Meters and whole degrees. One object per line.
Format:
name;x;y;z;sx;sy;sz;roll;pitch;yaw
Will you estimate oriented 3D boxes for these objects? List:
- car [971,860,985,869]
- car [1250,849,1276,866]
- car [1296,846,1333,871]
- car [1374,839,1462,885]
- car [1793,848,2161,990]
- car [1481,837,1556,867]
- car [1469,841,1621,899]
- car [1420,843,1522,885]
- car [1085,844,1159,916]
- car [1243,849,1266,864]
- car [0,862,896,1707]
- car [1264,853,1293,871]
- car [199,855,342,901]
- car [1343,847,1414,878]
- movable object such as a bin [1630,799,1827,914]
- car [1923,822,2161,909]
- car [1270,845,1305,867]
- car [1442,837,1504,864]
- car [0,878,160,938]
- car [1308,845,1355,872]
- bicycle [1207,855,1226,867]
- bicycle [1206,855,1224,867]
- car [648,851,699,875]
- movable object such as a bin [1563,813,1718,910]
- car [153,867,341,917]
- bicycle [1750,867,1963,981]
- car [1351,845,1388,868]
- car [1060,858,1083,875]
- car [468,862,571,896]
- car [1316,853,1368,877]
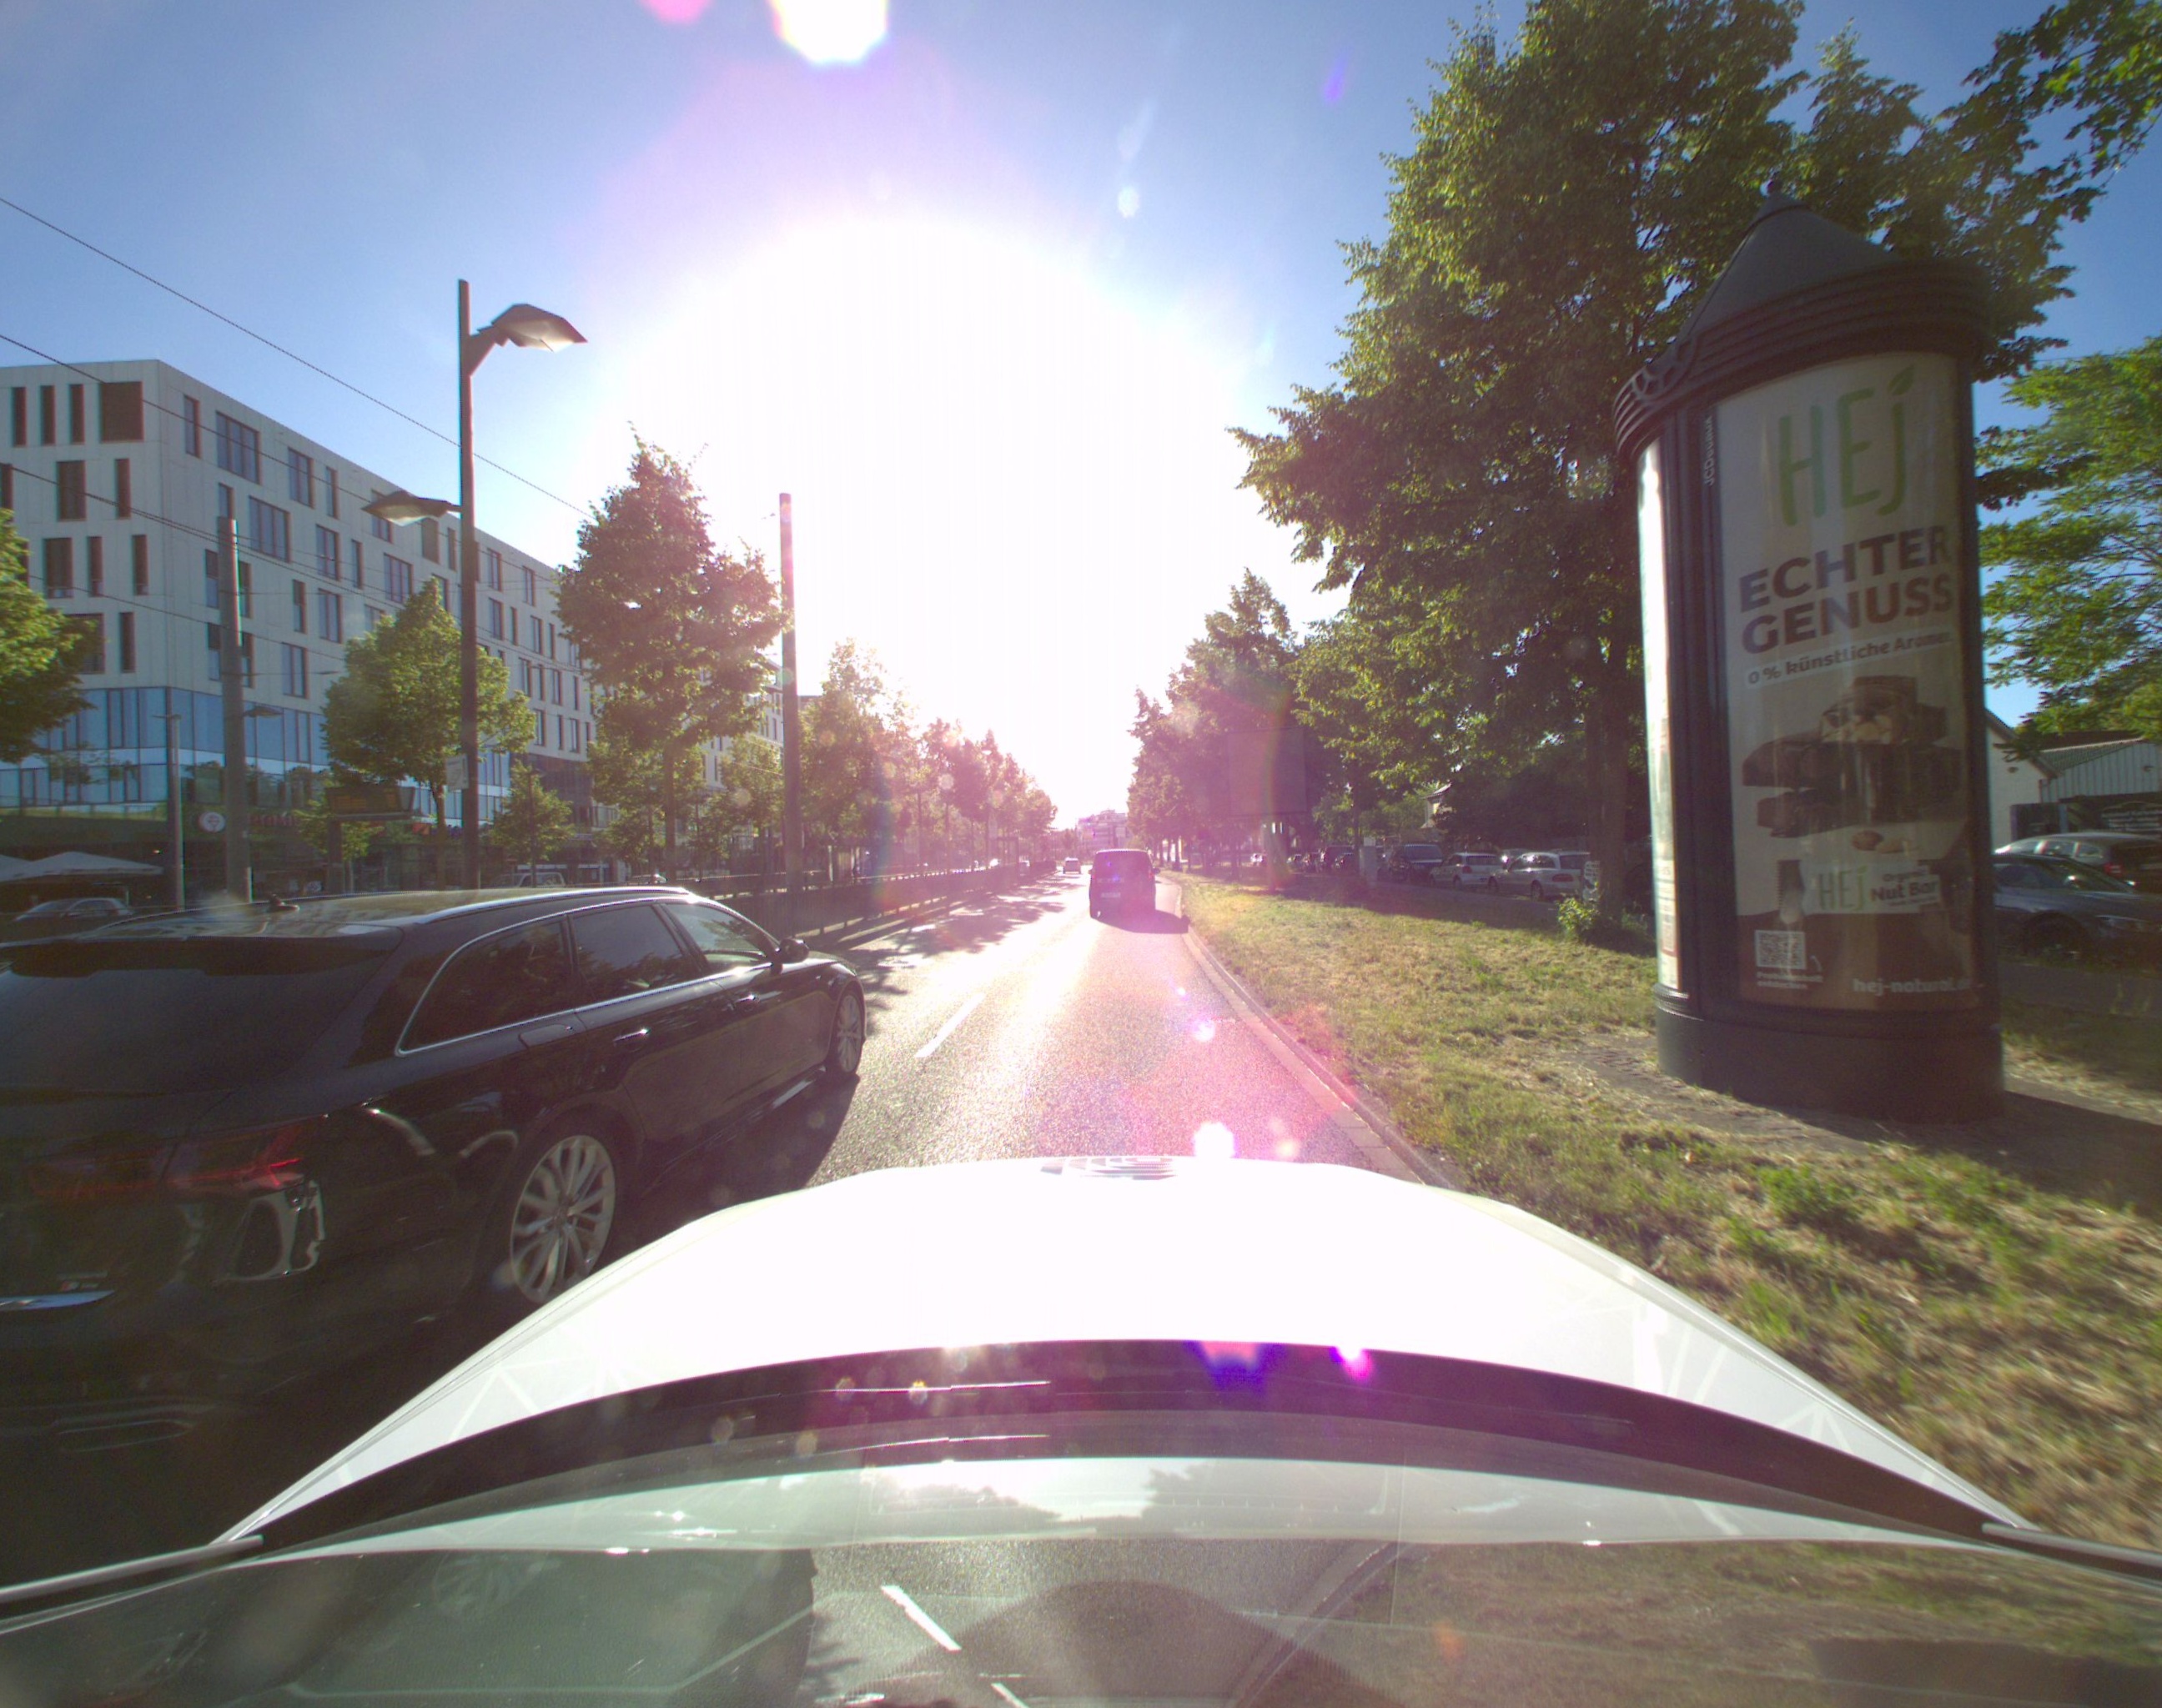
car;-21.114;2.181;166.404;1.983;1.765;4.006;0;-1;6
car;19.421;0.394;86.991;1.865;1.684;4.000;0;-1;1
car;16.786;0.340;58.615;1.862;1.684;4.006;0;-1;5
car;14.270;0.344;34.821;1.864;1.820;4.894;0;-1;2
car;11.802;0.663;10.232;1.988;1.384;4.754;0;-1;7
car;24.804;-0.073;46.382;1.863;1.483;4.694;-3;-1;3
car;13.454;0.461;24.033;1.863;1.524;5.061;0;-1;4
car;13.961;0.362;29.417;1.864;1.389;4.001;0;-1;2
car;1.059;0.696;22.821;1.803;1.838;3.998;0;-1;-1
car;19.439;0.290;91.523;1.864;1.684;4.001;0;-1;1
car;-2.593;0.804;3.892;1.944;1.480;5.089;0;0;4
car;18.928;0.815;78.047;1.865;1.684;4.000;0;-1;1
car;-38.036;1.095;38.431;1.985;2.014;4.566;0;-1;3
car;14.624;0.429;40.358;1.864;1.434;4.903;0;-1;2
movable object such as a bin;12.106;0.066;15.404;2.071;2.014;2.139;0;-1;5
car;21.925;0.235;18.233;1.985;1.640;4.003;-4;-1;3
car;17.186;0.159;68.031;1.865;1.684;4.000;-3;-1;1
car;25.031;-0.199;52.197;1.863;1.547;4.694;-3;-1;3
car;-30.733;1.545;23.906;1.985;1.608;4.614;0;-1;3
car;16.086;0.281;52.486;1.864;1.684;4.001;0;-1;2
bicycle;13.986;0.725;83.959;1.910;1.268;0.479;-1;-1;2
bicycle;13.926;0.708;84.512;1.771;1.268;0.479;0;-1;2
car;-35.541;0.797;71.122;1.985;2.014;4.566;0;-1;3
movable object such as a bin;12.365;0.174;18.162;2.071;2.014;2.139;0;-1;5
car;-30.313;1.320;29.857;1.985;1.672;4.614;0;-1;3
bicycle;7.983;0.665;8.520;0.491;1.046;1.905;0;-1;3
car;26.744;0.257;75.571;1.986;2.014;4.001;-3;-1;2
car;-0.905;1.167;78.158;1.986;1.618;4.001;0;-1;2
car;-30.100;1.304;43.864;1.985;1.714;4.855;0;-1;3
car;15.137;0.632;47.400;1.864;1.368;4.001;0;-1;2
